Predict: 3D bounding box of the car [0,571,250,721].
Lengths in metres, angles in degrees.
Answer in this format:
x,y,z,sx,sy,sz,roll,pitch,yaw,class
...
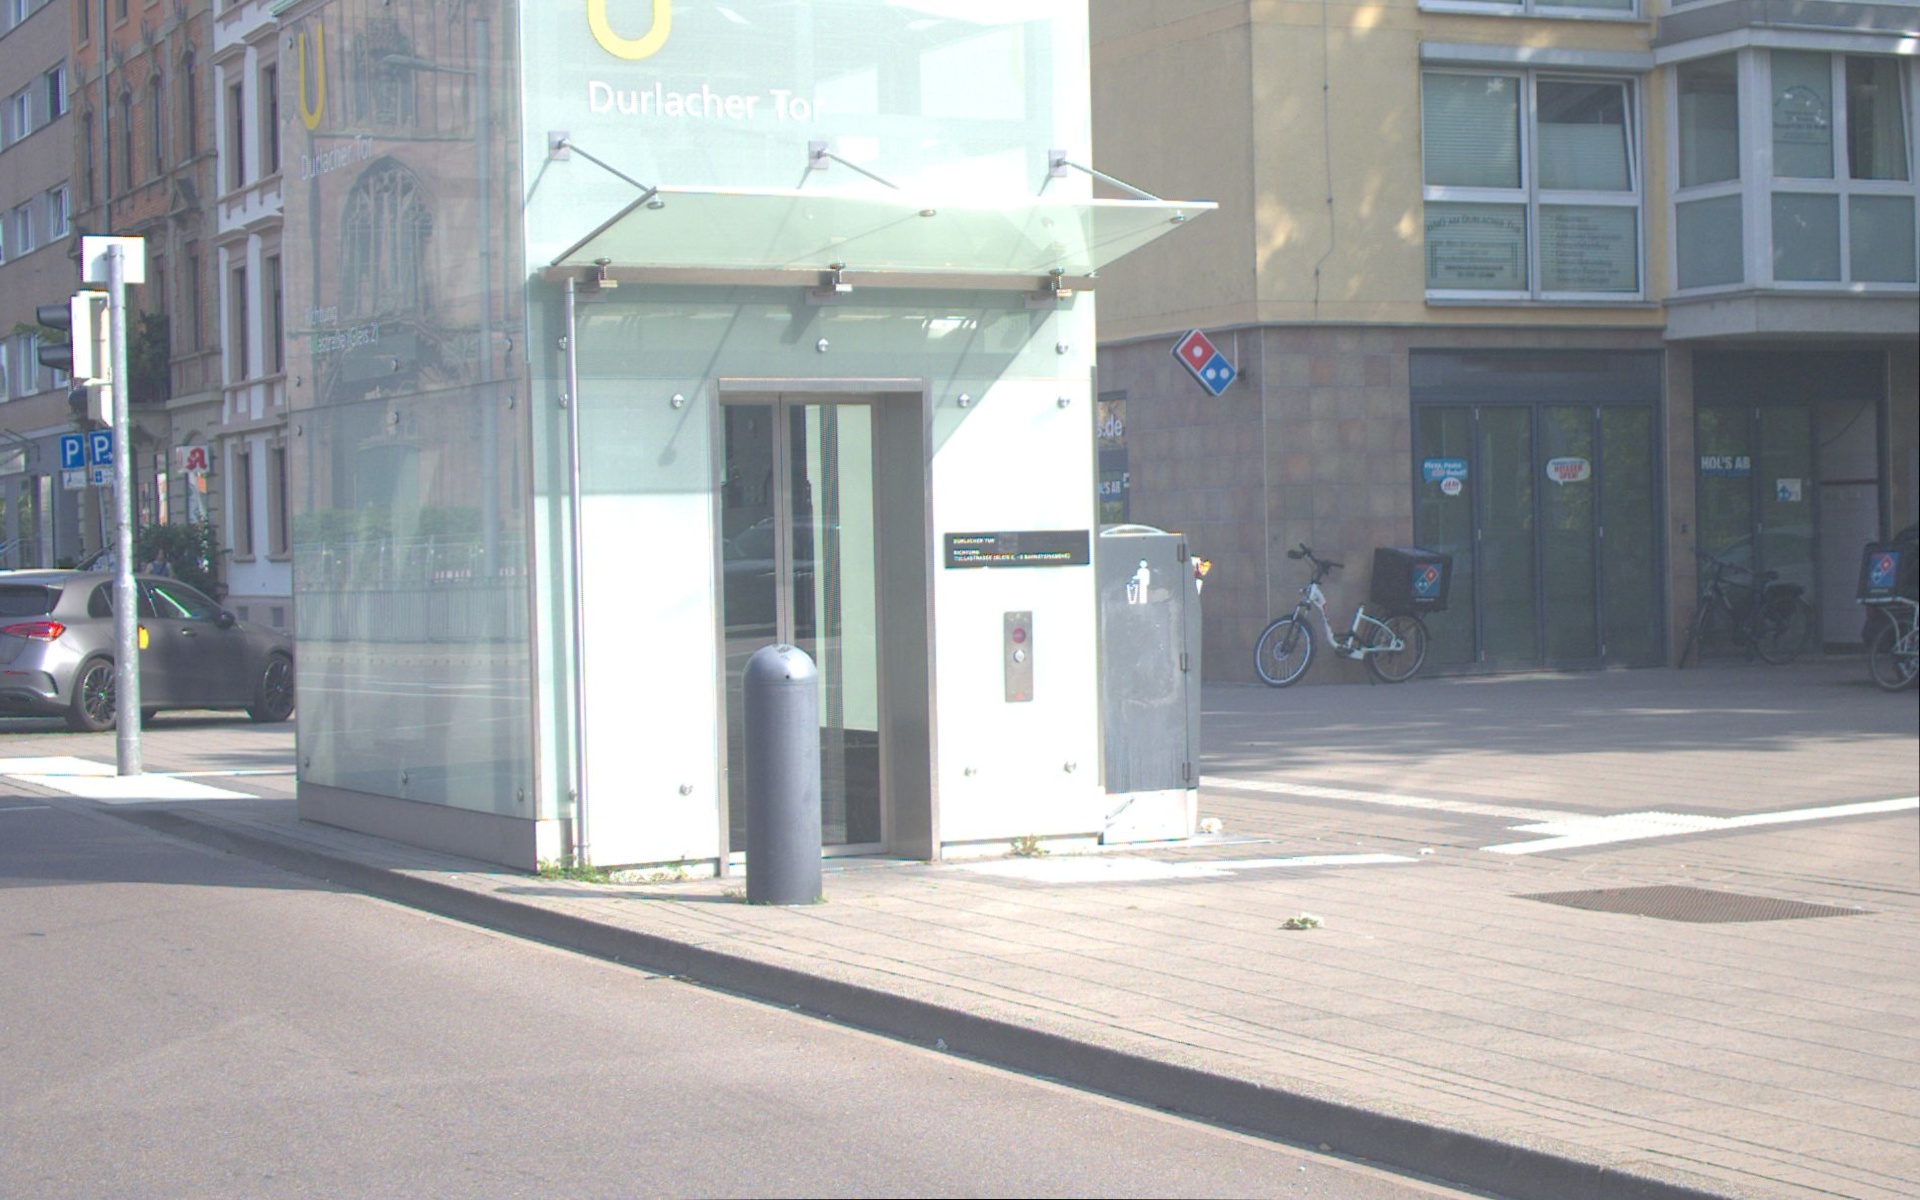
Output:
x,y,z,sx,sy,sz,roll,pitch,yaw,class
-9.129,0.449,35.948,1.619,1.459,3.524,-1,1,23,car

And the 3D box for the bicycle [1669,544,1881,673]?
x,y,z,sx,sy,sz,roll,pitch,yaw,class
7.957,0.073,33.534,2.016,1.179,0.671,-2,1,-25,bicycle

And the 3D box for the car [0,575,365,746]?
x,y,z,sx,sy,sz,roll,pitch,yaw,class
-7.528,0.506,31.531,1.844,1.418,4.403,-1,1,26,car

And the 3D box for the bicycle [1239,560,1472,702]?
x,y,z,sx,sy,sz,roll,pitch,yaw,class
3.575,0.262,31.025,2.016,1.202,0.671,-2,1,-25,bicycle

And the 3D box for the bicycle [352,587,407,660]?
x,y,z,sx,sy,sz,roll,pitch,yaw,class
-9.248,0.370,54.732,0.383,1.130,1.720,-1,1,-25,bicycle

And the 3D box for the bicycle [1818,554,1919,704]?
x,y,z,sx,sy,sz,roll,pitch,yaw,class
8.112,0.237,28.413,0.522,1.230,2.301,-2,1,-30,bicycle

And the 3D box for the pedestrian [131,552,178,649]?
x,y,z,sx,sy,sz,roll,pitch,yaw,class
-13.689,-0.003,58.435,0.608,1.623,0.737,-1,1,-25,pedestrian

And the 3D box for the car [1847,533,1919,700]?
x,y,z,sx,sy,sz,roll,pitch,yaw,class
9.536,0.139,29.064,1.656,1.436,4.195,-1,1,-24,car
